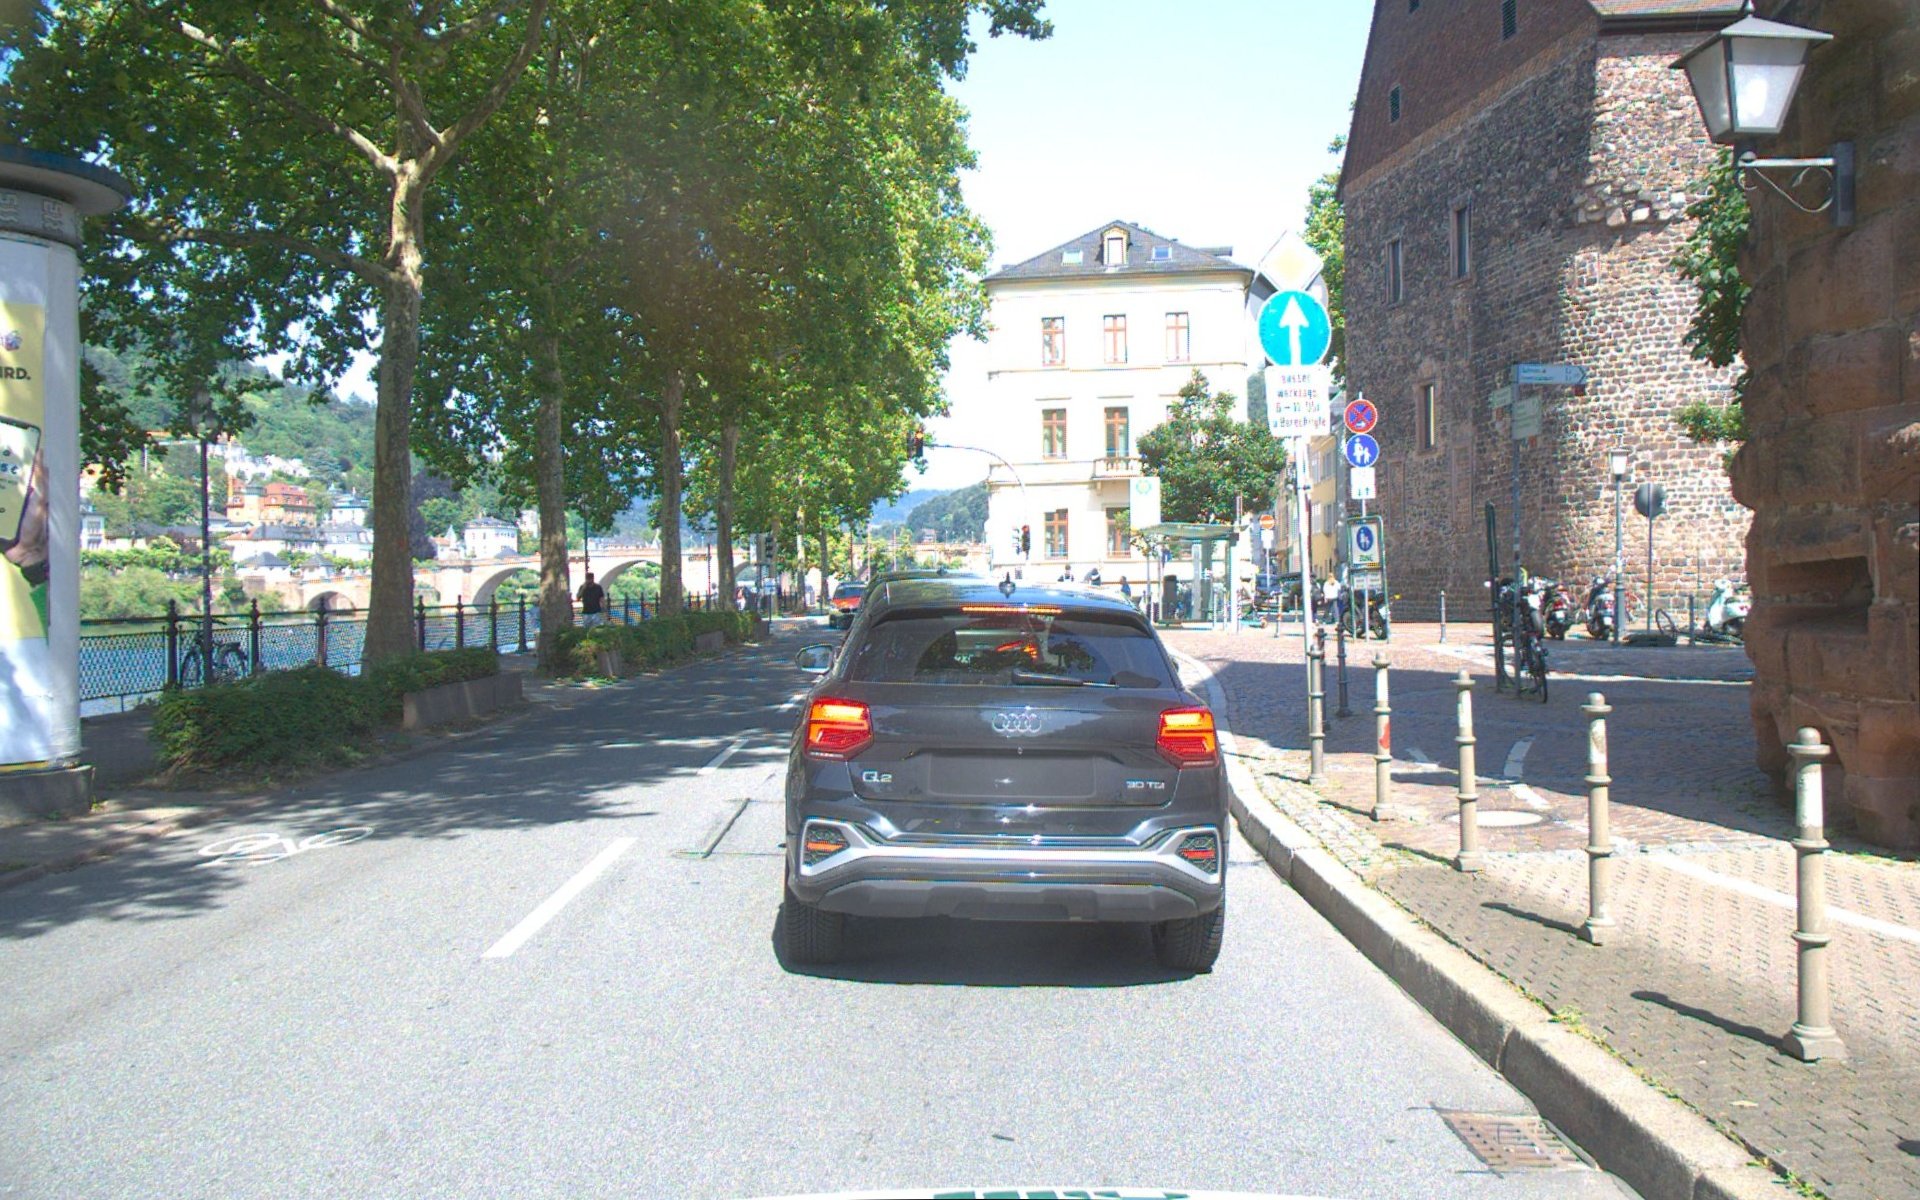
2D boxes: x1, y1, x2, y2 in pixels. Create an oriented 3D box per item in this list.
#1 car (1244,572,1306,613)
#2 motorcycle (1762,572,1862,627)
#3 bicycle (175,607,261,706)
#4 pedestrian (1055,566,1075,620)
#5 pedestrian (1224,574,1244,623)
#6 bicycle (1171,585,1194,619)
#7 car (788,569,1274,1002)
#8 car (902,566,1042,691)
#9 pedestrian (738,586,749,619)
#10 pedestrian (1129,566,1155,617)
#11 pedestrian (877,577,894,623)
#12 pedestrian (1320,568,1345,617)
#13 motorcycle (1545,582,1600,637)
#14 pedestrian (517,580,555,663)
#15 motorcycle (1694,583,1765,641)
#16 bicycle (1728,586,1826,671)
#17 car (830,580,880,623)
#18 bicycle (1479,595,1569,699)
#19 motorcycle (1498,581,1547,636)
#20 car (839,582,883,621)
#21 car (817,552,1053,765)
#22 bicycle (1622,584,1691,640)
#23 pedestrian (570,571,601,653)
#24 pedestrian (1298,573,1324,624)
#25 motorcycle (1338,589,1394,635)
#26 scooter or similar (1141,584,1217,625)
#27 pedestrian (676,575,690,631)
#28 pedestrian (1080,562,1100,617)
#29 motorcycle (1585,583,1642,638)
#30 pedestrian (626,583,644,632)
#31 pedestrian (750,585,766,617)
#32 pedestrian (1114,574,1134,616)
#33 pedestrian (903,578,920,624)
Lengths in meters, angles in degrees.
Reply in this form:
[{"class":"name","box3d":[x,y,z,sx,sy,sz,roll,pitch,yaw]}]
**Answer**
[{"class":"car","box3d":[14.037,-0.318,73.912,1.953,1.746,4.000,1,0,-1]},{"class":"motorcycle","box3d":[16.813,-0.008,32.673,1.659,1.037,0.500,1,0,12]},{"class":"bicycle","box3d":[-9.569,0.703,21.391,0.350,1.182,1.825,-2,0,-3]},{"class":"pedestrian","box3d":[3.090,-0.200,48.619,0.545,1.585,0.660,1,0,0]},{"class":"pedestrian","box3d":[9.448,-0.064,57.017,0.535,1.663,0.660,1,0,-3]},{"class":"bicycle","box3d":[6.631,0.043,49.325,0.441,0.992,1.399,1,0,0]},{"class":"car","box3d":[0.198,0.644,7.688,1.713,1.520,3.628,1,1,-2]},{"class":"car","box3d":[0.141,0.345,23.203,1.764,1.549,3.715,-2,1,-1]},{"class":"pedestrian","box3d":[-9.406,0.111,71.728,0.401,1.450,0.457,1,0,-3]},{"class":"pedestrian","box3d":[5.662,-0.267,51.547,0.731,1.585,0.588,1,0,0]},{"class":"pedestrian","box3d":[-2.575,0.006,57.356,0.545,1.585,0.660,1,0,0]},{"class":"pedestrian","box3d":[12.048,-0.237,53.520,0.644,1.544,0.548,1,0,1]},{"class":"motorcycle","box3d":[11.446,0.171,30.929,0.449,0.990,1.466,1,0,-1]},{"class":"pedestrian","box3d":[-9.108,0.459,35.555,0.632,1.747,0.665,1,0,-4]},{"class":"motorcycle","box3d":[14.182,0.207,30.536,0.488,1.037,1.701,1,0,0]},{"class":"bicycle","box3d":[10.648,0.347,21.612,0.485,1.048,2.052,1,0,7]},{"class":"car","box3d":[-3.995,0.040,63.481,1.581,1.549,3.477,-2,1,1]},{"class":"bicycle","box3d":[6.087,0.478,17.940,0.485,1.048,2.052,-1,0,7]},{"class":"motorcycle","box3d":[10.576,0.152,31.137,0.427,0.990,1.359,1,0,-1]},{"class":"car","box3d":[-4.225,0.037,70.864,1.581,1.549,3.477,-2,1,1]},{"class":"car","box3d":[-0.206,0.437,14.430,1.764,1.590,3.715,1,0,-1]},{"class":"bicycle","box3d":[12.976,0.206,30.869,0.395,1.007,1.825,1,0,-4]},{"class":"pedestrian","box3d":[-8.234,0.261,36.377,0.552,1.772,0.665,-1,0,-4]},{"class":"pedestrian","box3d":[10.595,-0.049,49.917,0.644,1.519,0.548,1,0,1]},{"class":"motorcycle","box3d":[7.698,0.210,31.434,0.474,0.832,2.279,-2,1,0]},{"class":"scooter or similar","box3d":[5.402,0.109,40.869,1.808,0.980,0.429,1,0,-2]},{"class":"pedestrian","box3d":[-9.897,0.110,59.125,0.490,1.993,0.438,0,0,-8]},{"class":"pedestrian","box3d":[3.927,-0.320,49.913,0.545,1.661,0.660,1,0,0]},{"class":"motorcycle","box3d":[12.213,0.187,30.942,0.449,0.990,1.466,1,0,-1]},{"class":"pedestrian","box3d":[-10.450,0.245,53.164,0.488,1.564,0.678,1,0,-8]},{"class":"pedestrian","box3d":[-8.437,0.034,69.107,0.579,1.301,0.525,1,0,-1]},{"class":"pedestrian","box3d":[4.901,-0.143,49.358,0.535,1.222,0.522,1,0,0]},{"class":"pedestrian","box3d":[-1.679,0.024,57.234,0.545,1.585,0.660,1,0,0]}]
